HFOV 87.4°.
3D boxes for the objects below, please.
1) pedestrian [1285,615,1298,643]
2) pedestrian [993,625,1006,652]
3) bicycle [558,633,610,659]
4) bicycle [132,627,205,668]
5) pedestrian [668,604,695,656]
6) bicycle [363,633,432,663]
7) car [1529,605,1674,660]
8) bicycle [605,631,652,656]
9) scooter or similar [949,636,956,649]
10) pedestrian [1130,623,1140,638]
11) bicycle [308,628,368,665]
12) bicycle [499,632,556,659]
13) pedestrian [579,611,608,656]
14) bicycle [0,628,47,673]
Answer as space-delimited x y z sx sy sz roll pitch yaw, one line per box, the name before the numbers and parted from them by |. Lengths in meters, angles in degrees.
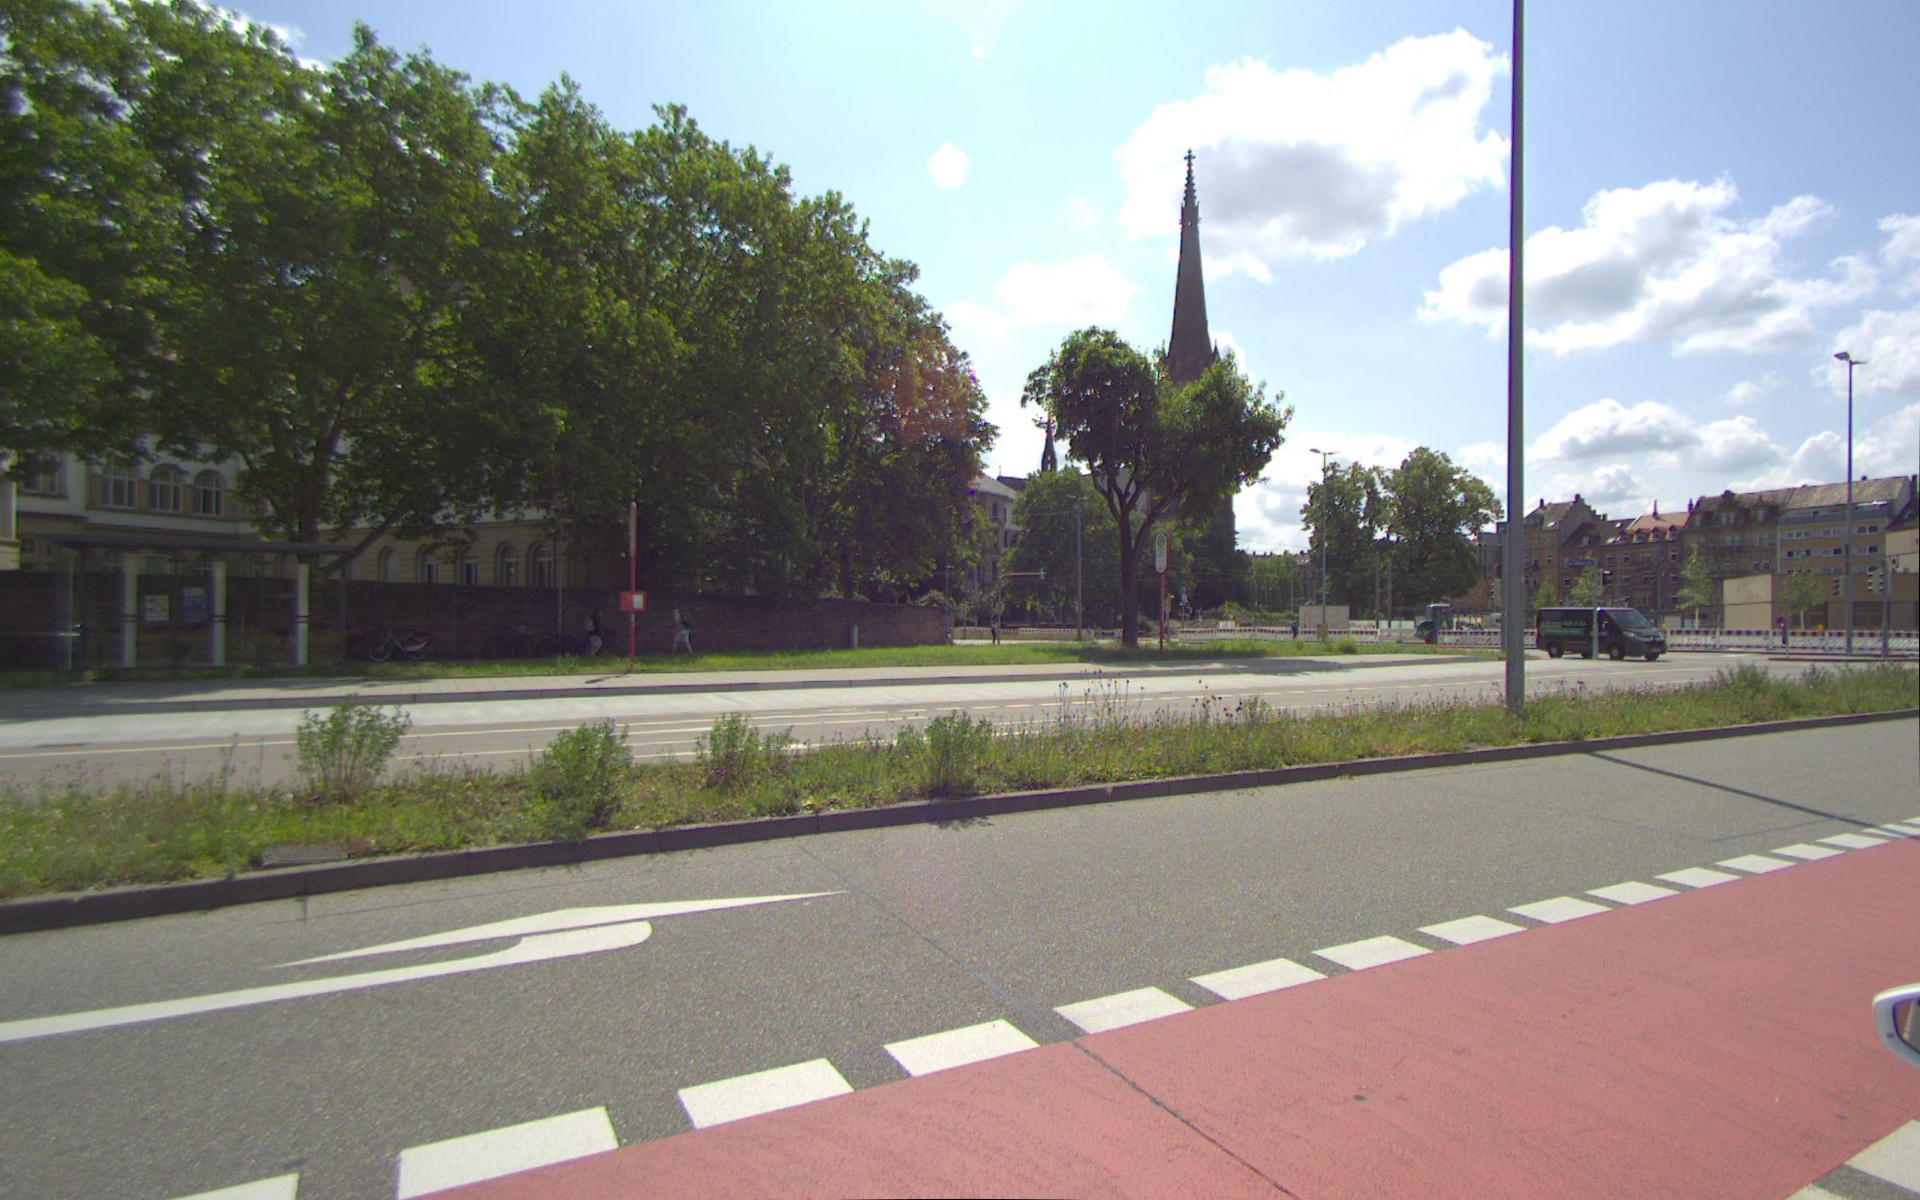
pedestrian | 24.113 2.090 72.971 0.625 2.040 0.643 1 -1 -32
pedestrian | 2.916 2.856 74.690 0.713 2.040 0.721 1 -1 -32
bicycle | -12.770 1.552 34.159 0.324 0.828 1.743 0 -1 36
bicycle | -19.407 1.159 24.650 0.260 0.977 1.391 0 -1 36
pedestrian | -8.065 0.856 29.063 0.627 1.492 0.506 1 -1 -32
bicycle | -16.229 1.381 29.017 0.324 0.828 1.743 0 -1 36
car | 27.147 1.427 42.744 2.120 2.204 5.001 0 -3 -18
bicycle | -11.765 1.536 35.685 0.324 0.828 1.743 0 -1 36
scooter or similar | -0.426 2.476 58.987 0.117 0.721 1.005 0 -1 17
pedestrian | 19.672 3.455 112.846 0.842 1.685 0.751 0 -1 29
bicycle | -17.149 1.267 27.720 0.260 0.977 1.391 0 -1 36
bicycle | -13.907 1.467 32.346 0.378 0.828 1.743 0 -1 36
pedestrian | -11.800 1.066 32.301 0.720 1.413 0.714 1 -1 -35
bicycle | -21.247 1.118 22.329 0.260 0.977 1.391 0 -1 36
